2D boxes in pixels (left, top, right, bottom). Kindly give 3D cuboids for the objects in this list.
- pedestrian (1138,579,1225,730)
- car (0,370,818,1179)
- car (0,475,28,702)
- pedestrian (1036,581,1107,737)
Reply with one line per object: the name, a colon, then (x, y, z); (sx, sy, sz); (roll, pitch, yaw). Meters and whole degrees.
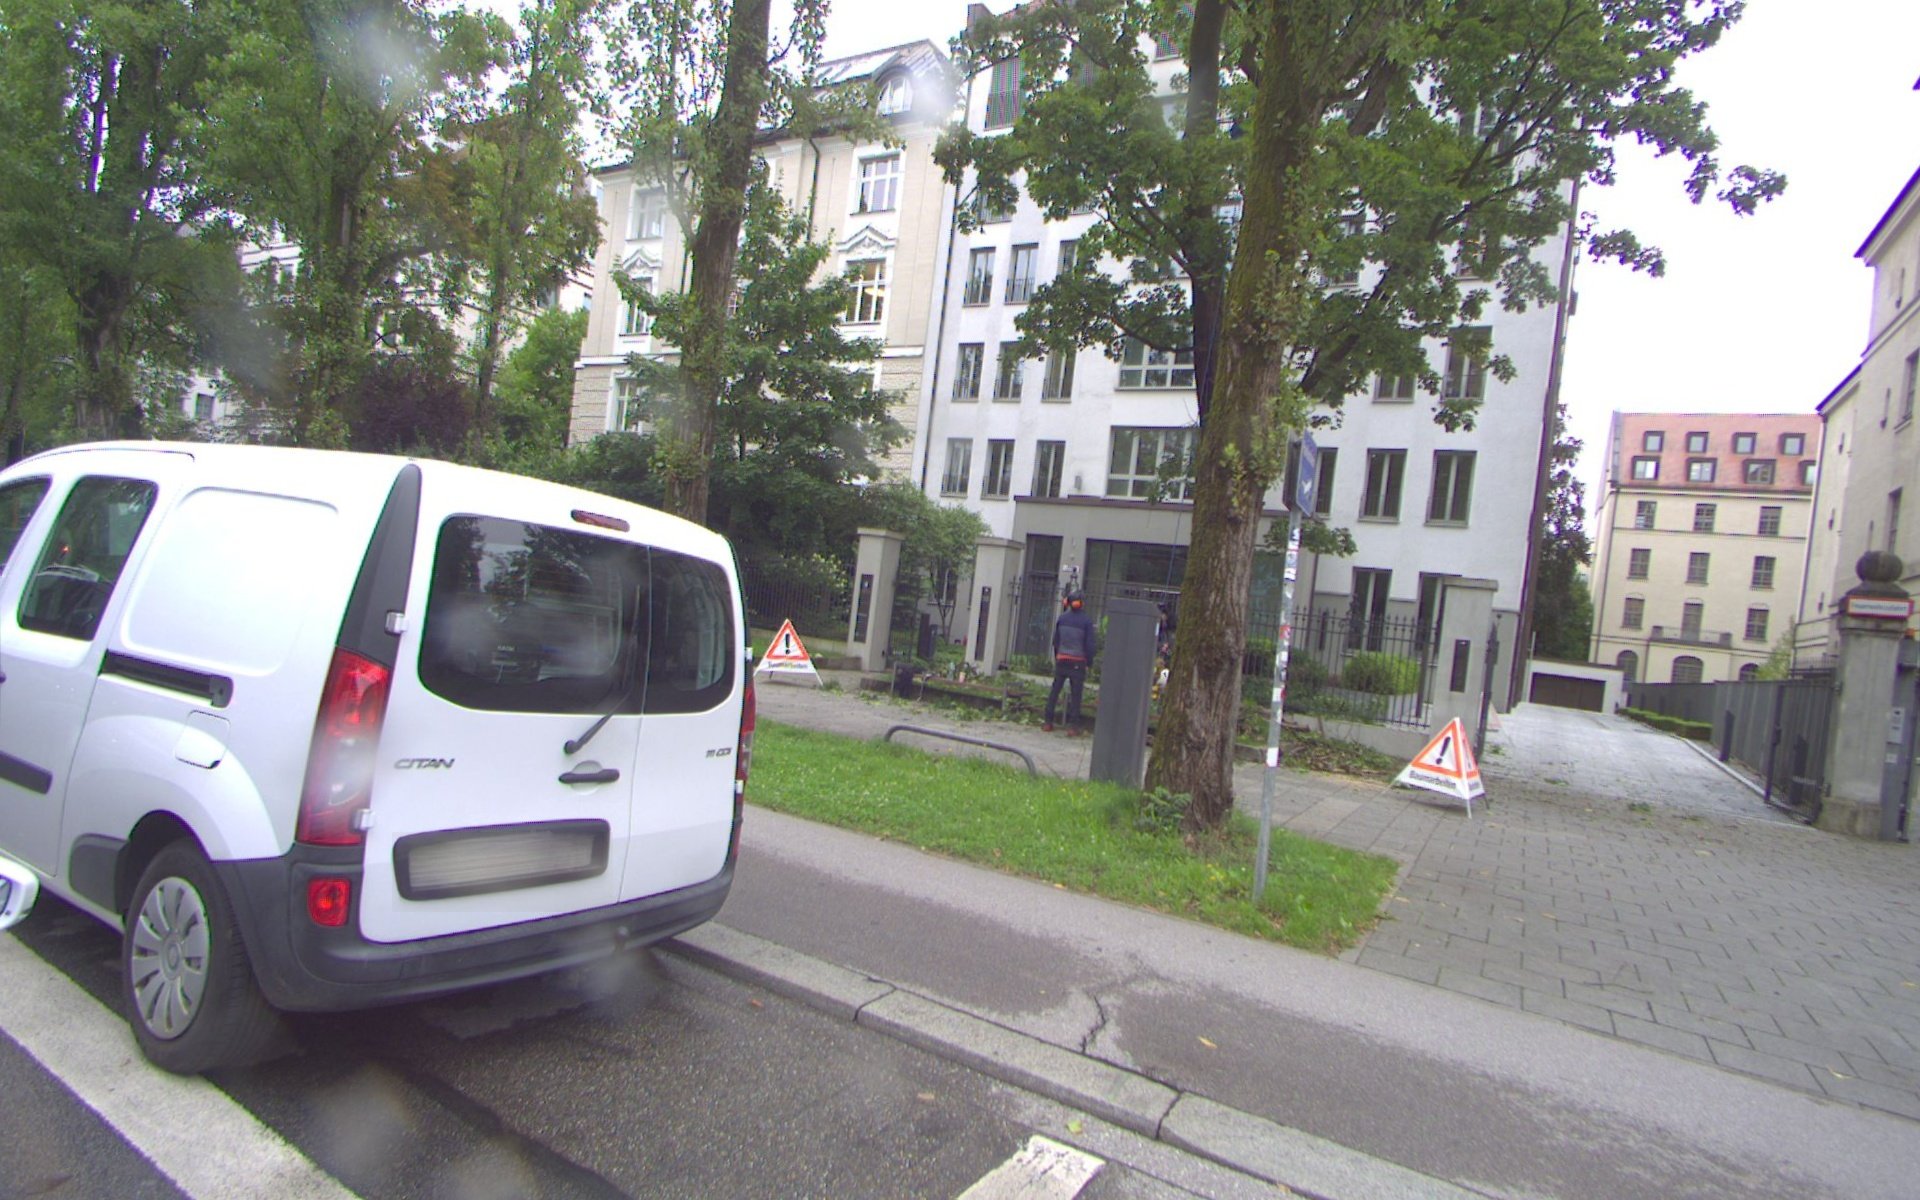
pedestrian: (2.927, 0.709, 13.390); (0.814, 1.823, 0.904); (9, 2, 10)
car: (-2.878, 0.261, 4.182); (4.097, 1.904, 1.854); (7, 0, 30)
car: (-8.959, -0.348, 7.521); (4.141, 1.612, 1.743); (7, 0, 31)
pedestrian: (1.423, 0.740, 12.806); (0.626, 1.886, 0.488); (7, 1, 14)
